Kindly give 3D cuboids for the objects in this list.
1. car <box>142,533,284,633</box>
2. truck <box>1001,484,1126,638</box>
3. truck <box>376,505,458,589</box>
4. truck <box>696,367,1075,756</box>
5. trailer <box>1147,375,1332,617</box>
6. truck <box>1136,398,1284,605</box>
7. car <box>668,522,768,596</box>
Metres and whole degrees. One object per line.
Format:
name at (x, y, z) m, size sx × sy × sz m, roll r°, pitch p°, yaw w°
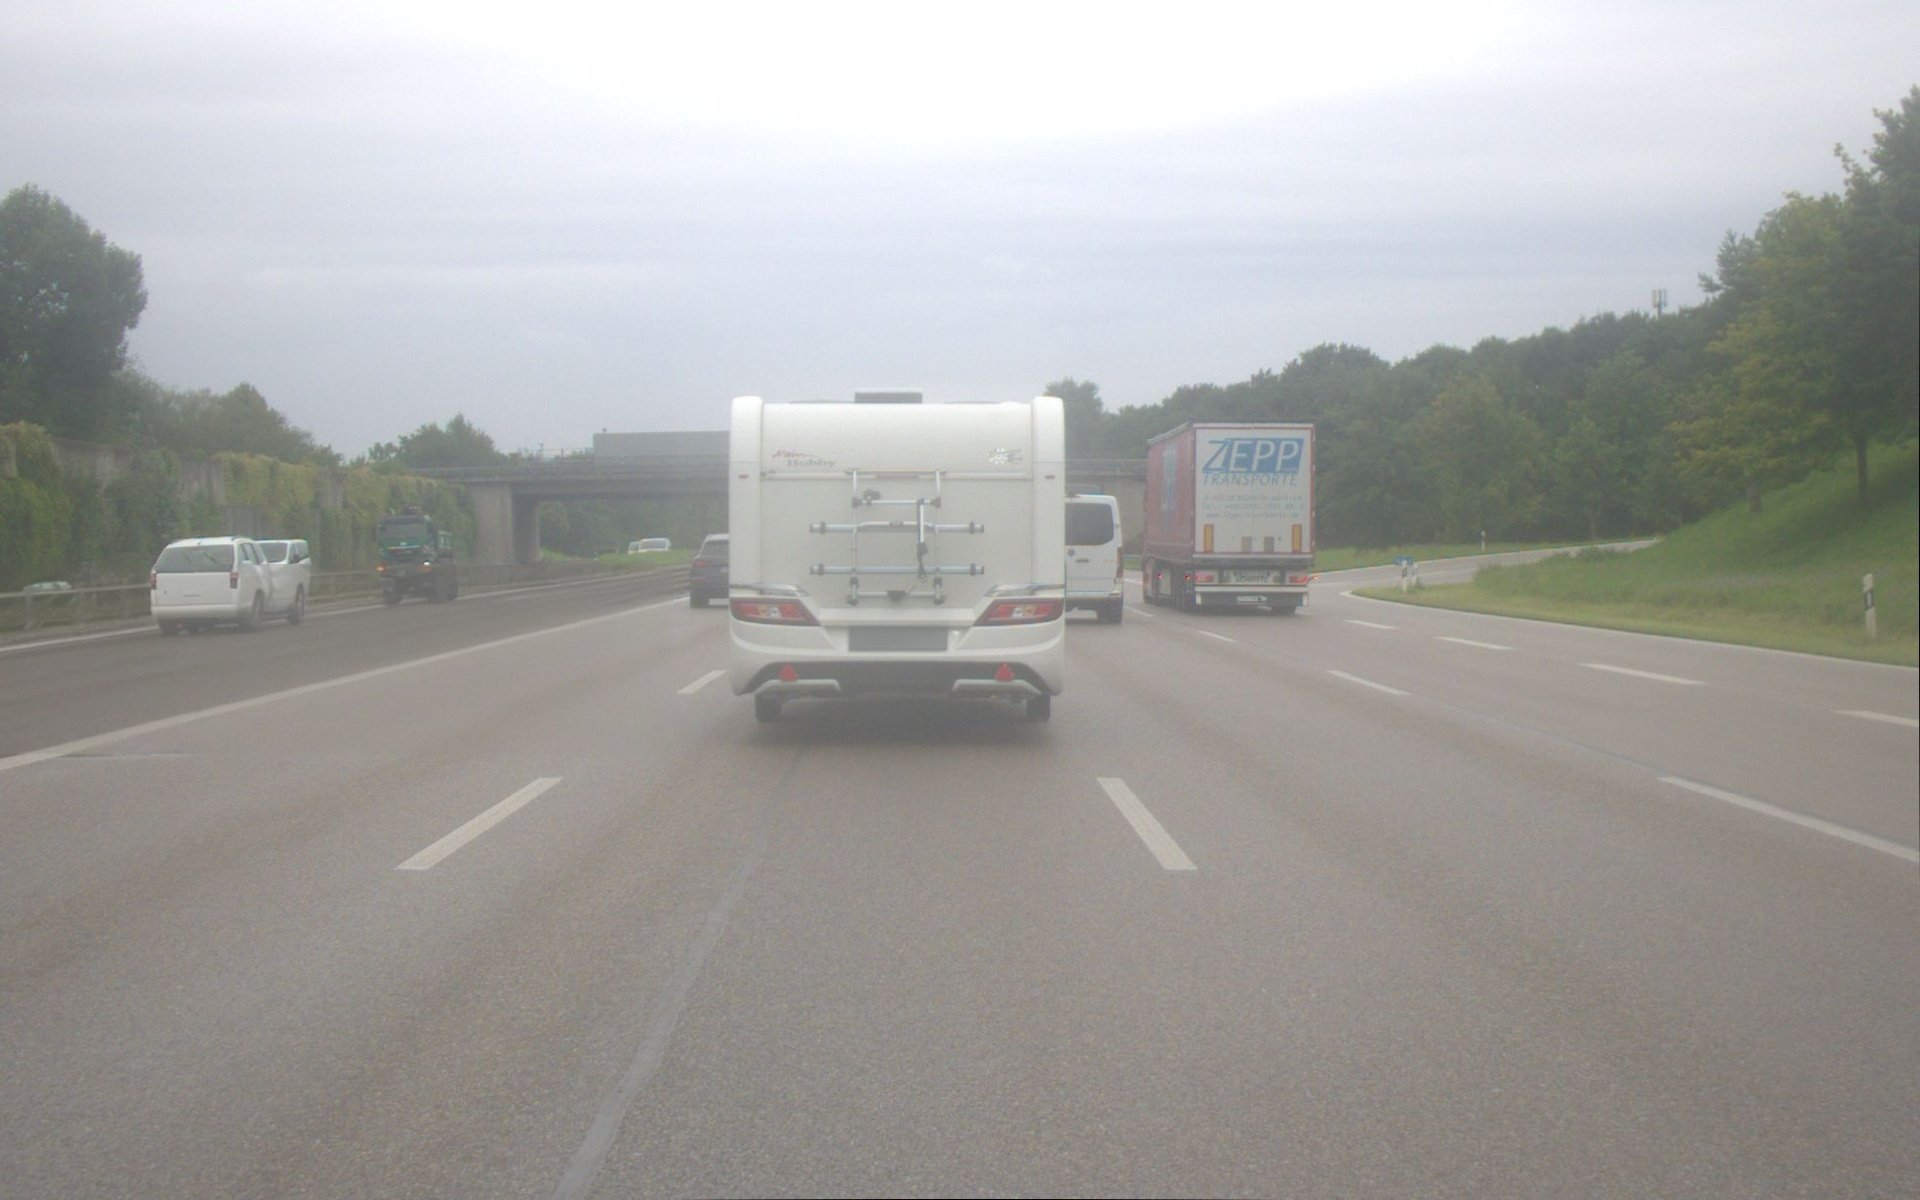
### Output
car at (-13.763, -0.327, 63.558) m, size 1.787 × 1.745 × 4.537 m, roll 1°, pitch 1°, yaw -2°
truck at (1.913, -0.744, 65.182) m, size 2.053 × 2.760 × 5.549 m, roll 1°, pitch 1°, yaw -1°
truck at (-24.985, -2.432, 158.454) m, size 2.691 × 3.764 × 8.338 m, roll 1°, pitch 1°, yaw -2°
truck at (-0.584, -0.302, 27.078) m, size 2.661 × 2.733 × 5.078 m, roll 1°, pitch 1°, yaw -1°
trailer at (6.025, -2.189, 76.044) m, size 3.100 × 4.905 × 11.790 m, roll 1°, pitch 1°, yaw 0°
truck at (6.023, -2.357, 83.754) m, size 3.048 × 4.822 × 5.850 m, roll 1°, pitch 1°, yaw -1°
car at (-5.466, -0.939, 78.076) m, size 1.993 × 1.594 × 5.124 m, roll 1°, pitch 1°, yaw -1°
